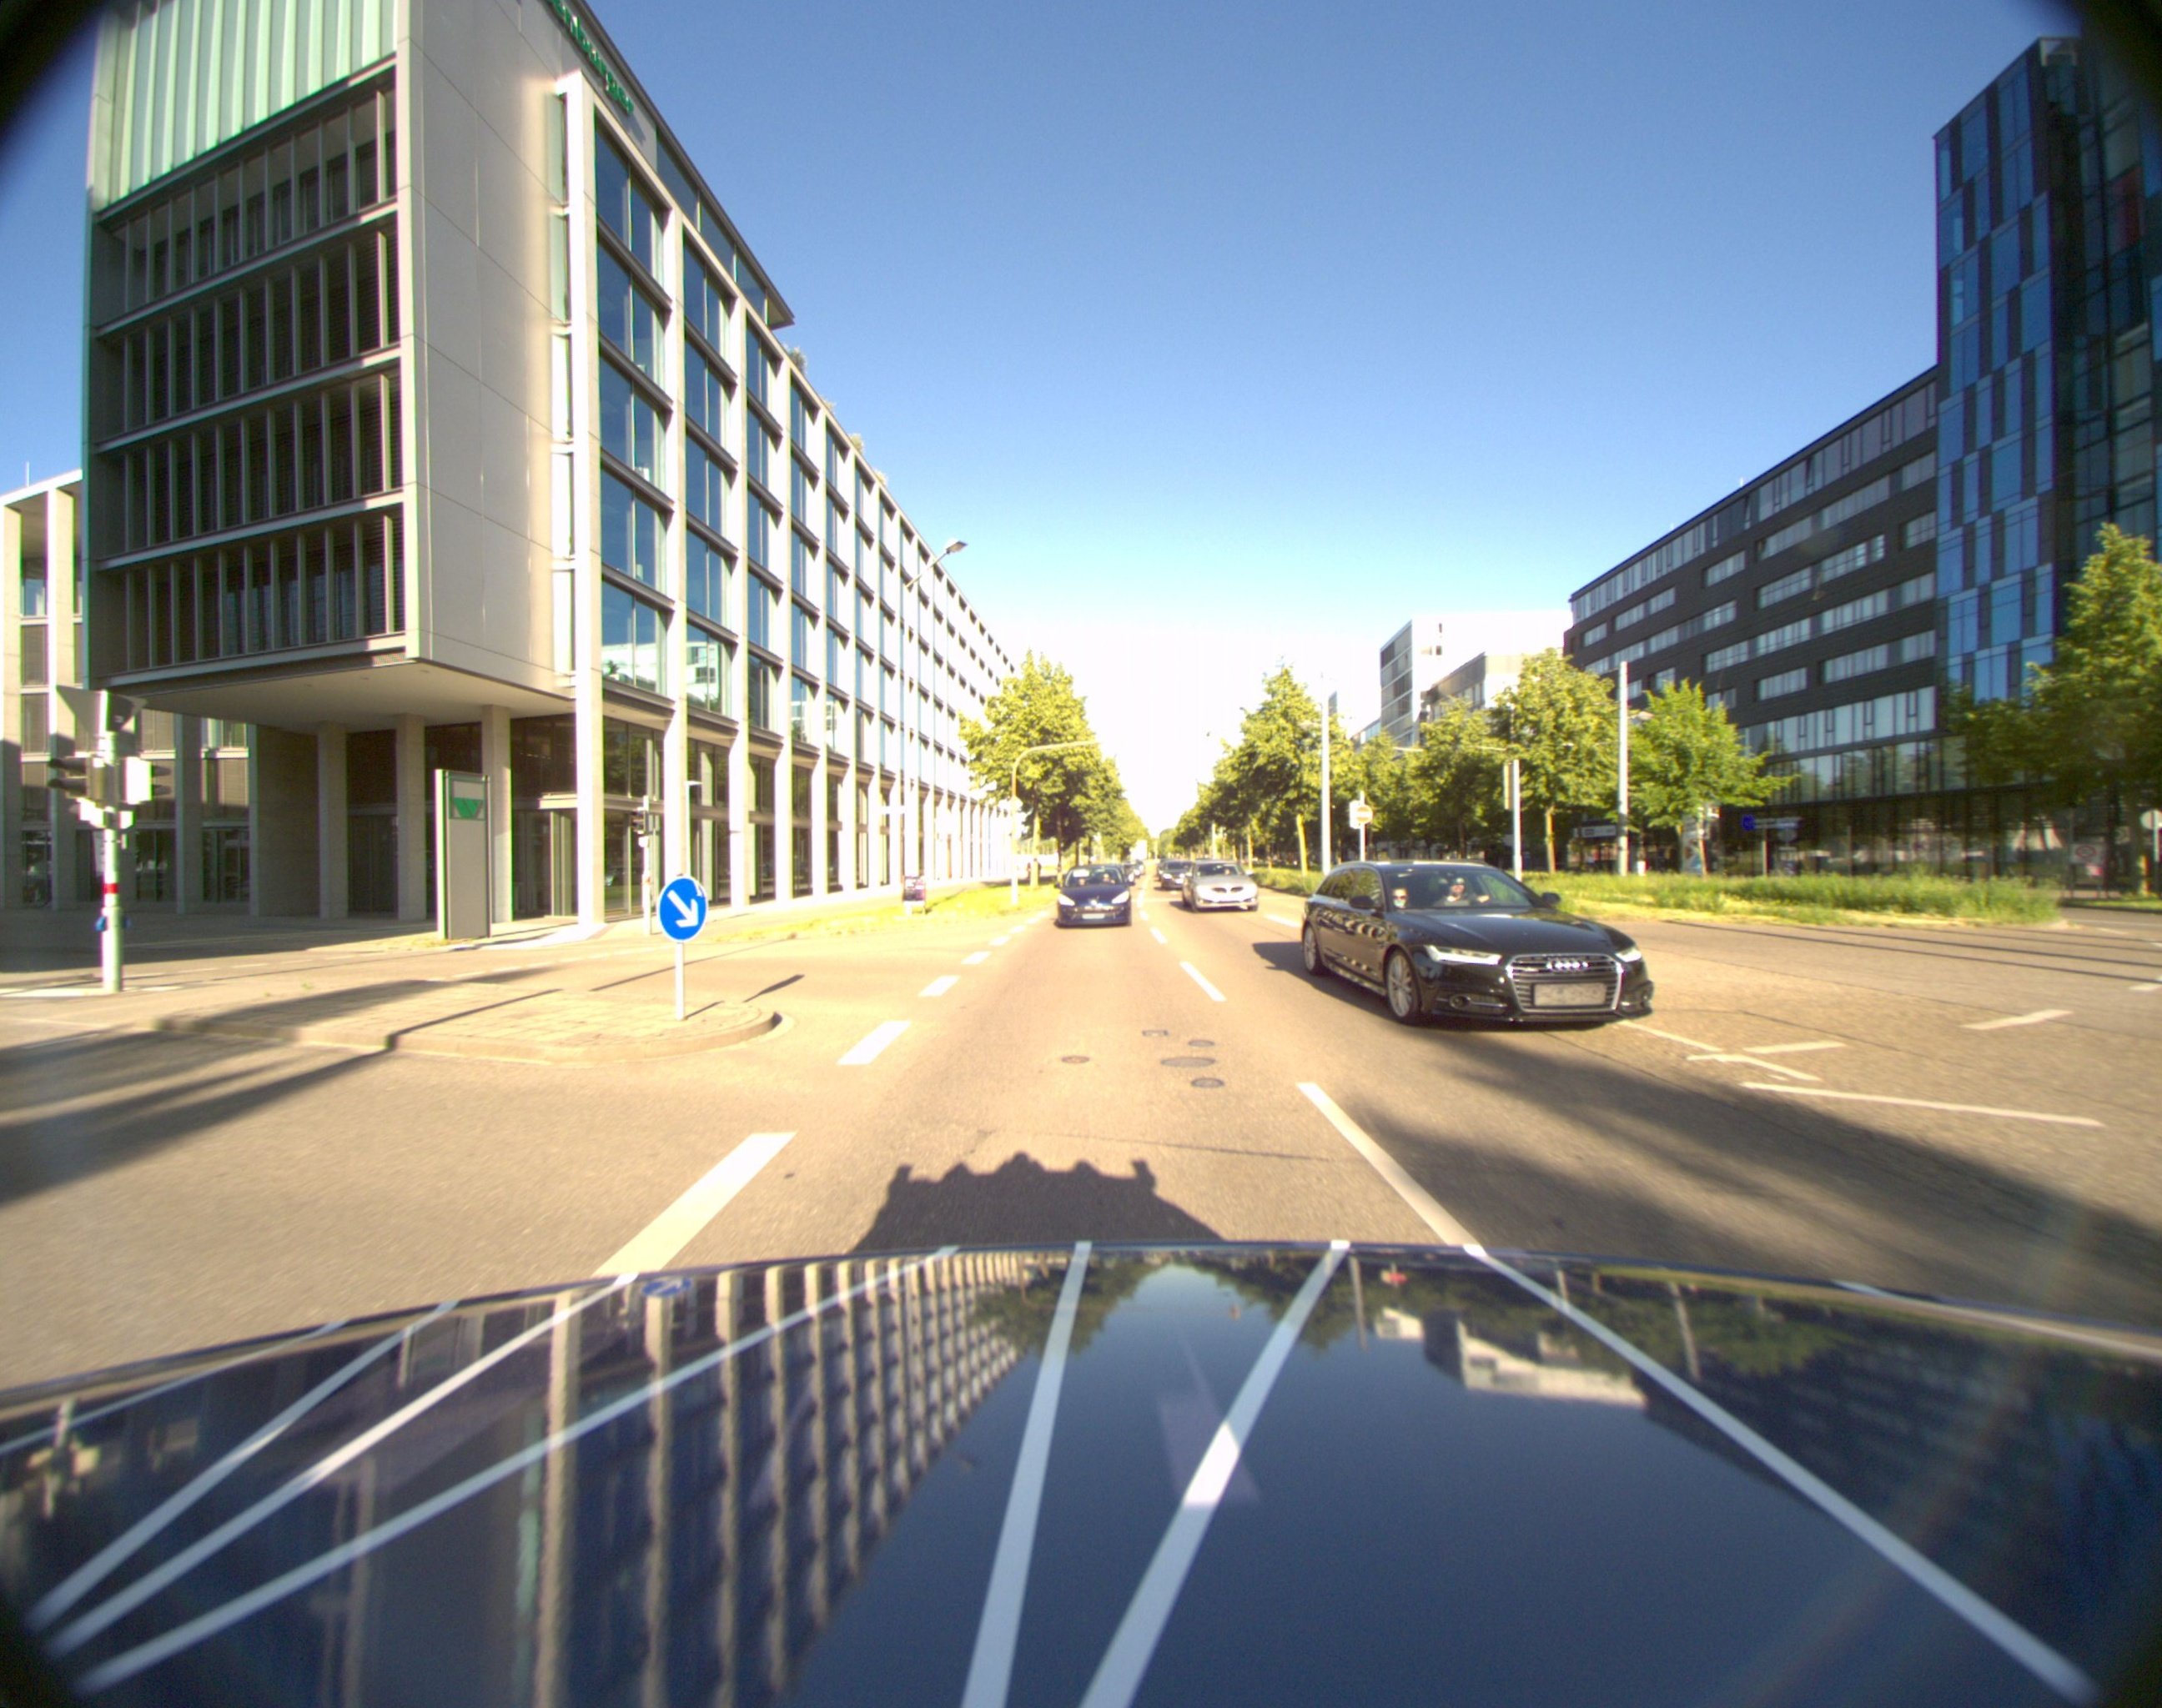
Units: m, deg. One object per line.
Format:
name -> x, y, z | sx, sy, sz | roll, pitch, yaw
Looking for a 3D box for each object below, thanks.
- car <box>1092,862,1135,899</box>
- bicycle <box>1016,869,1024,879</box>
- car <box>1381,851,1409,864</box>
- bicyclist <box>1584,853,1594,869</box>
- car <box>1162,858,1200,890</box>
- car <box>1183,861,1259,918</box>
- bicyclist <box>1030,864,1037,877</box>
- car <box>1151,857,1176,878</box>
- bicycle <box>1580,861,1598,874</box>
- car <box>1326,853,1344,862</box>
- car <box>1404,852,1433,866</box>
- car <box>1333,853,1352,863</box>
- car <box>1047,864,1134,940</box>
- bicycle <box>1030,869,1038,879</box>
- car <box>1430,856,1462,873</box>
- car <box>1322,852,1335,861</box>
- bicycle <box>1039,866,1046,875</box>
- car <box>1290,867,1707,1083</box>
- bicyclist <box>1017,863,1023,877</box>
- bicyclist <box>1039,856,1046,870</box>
car -> 1.481, 1.115, 33.590 | 1.611, 1.463, 4.397 | -1, 0, 6
bicycle -> -5.670, 1.873, 70.714 | 0.415, 0.813, 1.320 | -1, 1, 7
car -> 43.034, 0.478, 104.116 | 2.011, 1.689, 4.793 | -1, 0, 2
bicyclist -> 45.103, 0.648, 67.441 | 0.493, 1.398, 0.626 | -1, 1, 6
car -> 5.008, 0.968, 38.423 | 1.812, 1.513, 4.030 | -1, 0, 6
car -> 4.076, 0.980, 22.792 | 1.812, 1.480, 4.744 | -1, 0, 5
bicyclist -> -4.419, 1.535, 70.638 | 0.534, 1.210, 0.508 | -1, 1, 6
car -> 6.145, 1.001, 56.482 | 1.811, 1.445, 4.256 | -1, 0, 7
bicycle -> 45.077, 1.193, 67.410 | 0.528, 1.028, 1.848 | -1, 1, 6
car -> 45.949, 0.637, 137.651 | 2.011, 1.689, 4.794 | -1, 0, 5
car -> 41.702, 0.593, 94.066 | 1.857, 1.674, 4.794 | -1, 0, 6
car -> 45.390, 0.680, 131.868 | 2.011, 1.689, 4.794 | -1, 0, 5
car -> 0.319, 1.039, 17.828 | 1.685, 1.513, 3.787 | -1, 0, 6
bicycle -> -4.402, 1.867, 70.742 | 0.464, 0.813, 1.345 | -1, 1, 7
car -> 40.300, 1.152, 83.984 | 1.857, 1.739, 4.002 | -1, 0, 6
car -> 46.398, 0.532, 142.461 | 1.601, 1.659, 3.745 | -1, 0, 6
bicycle -> -3.766, 1.618, 74.852 | 0.464, 0.813, 1.345 | -1, 1, 7
car -> 3.631, 0.915, 7.741 | 1.812, 1.448, 4.508 | -1, 0, 1
bicyclist -> -5.672, 1.444, 70.756 | 0.448, 1.282, 0.418 | -1, 1, 6
bicyclist -> -3.803, 0.876, 74.840 | 0.534, 1.282, 0.521 | -1, 1, 6
